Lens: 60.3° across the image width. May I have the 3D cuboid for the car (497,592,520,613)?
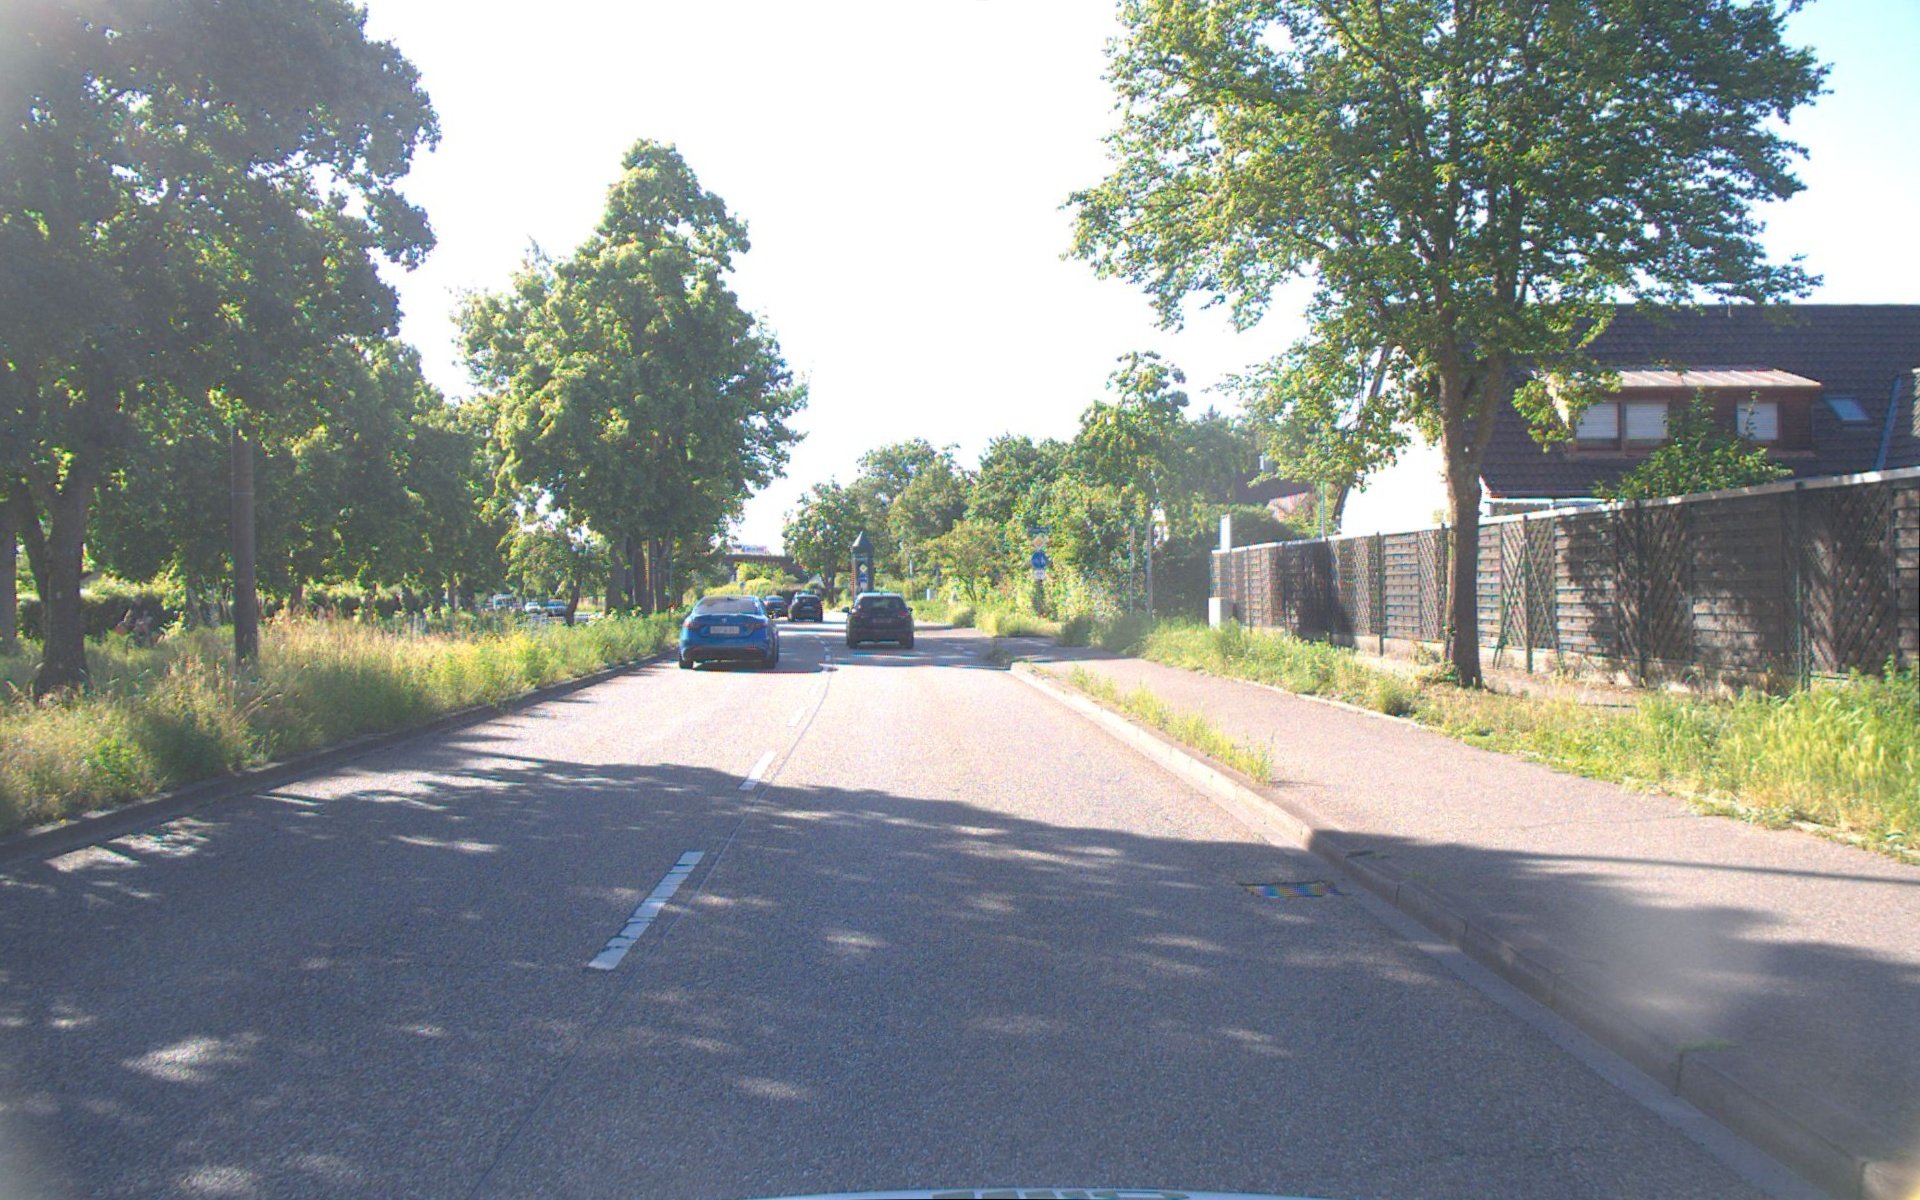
[{"bbox_3d":[-44.711,0.262,163.889,1.771,2.049,3.990,-1,0,-10],"label":"car"}]

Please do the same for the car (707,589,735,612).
[{"bbox_3d":[-16.745,0.045,115.658,1.880,1.538,4.059,-1,0,-9],"label":"car"}]

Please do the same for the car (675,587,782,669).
[{"bbox_3d":[-4.620,0.536,33.551,1.802,1.500,4.181,-1,0,-4],"label":"car"}]

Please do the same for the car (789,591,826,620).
[{"bbox_3d":[-8.607,0.322,93.082,1.879,1.607,4.175,0,0,-7],"label":"car"}]

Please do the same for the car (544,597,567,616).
[{"bbox_3d":[-32.932,0.541,134.760,1.640,1.493,3.773,0,0,-10],"label":"car"}]

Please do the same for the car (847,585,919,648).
[{"bbox_3d":[-2.134,0.419,45.634,1.877,1.607,4.179,-1,0,-3],"label":"car"}]

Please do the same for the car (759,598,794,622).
[{"bbox_3d":[-13.088,0.716,117.835,1.883,1.707,3.997,0,0,-15],"label":"car"}]
